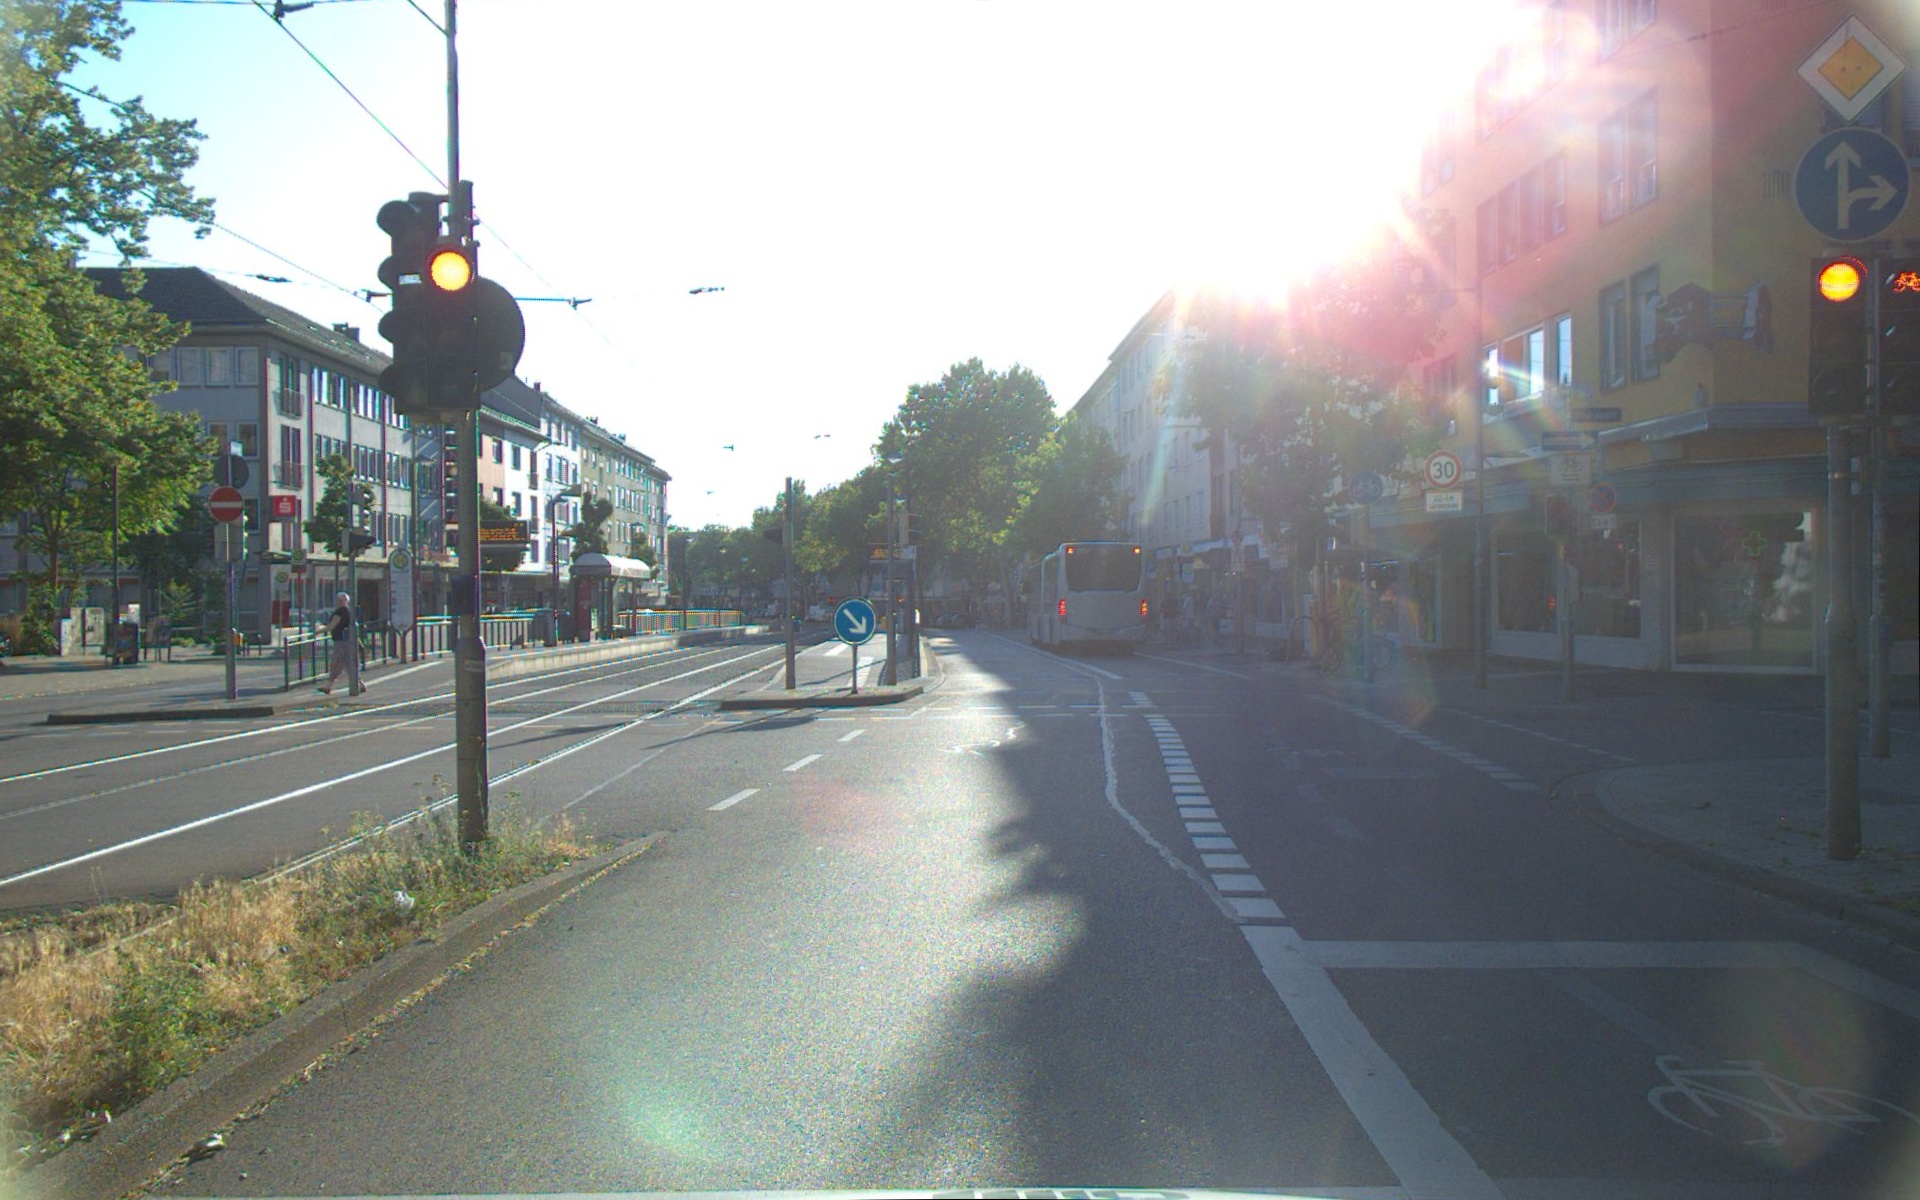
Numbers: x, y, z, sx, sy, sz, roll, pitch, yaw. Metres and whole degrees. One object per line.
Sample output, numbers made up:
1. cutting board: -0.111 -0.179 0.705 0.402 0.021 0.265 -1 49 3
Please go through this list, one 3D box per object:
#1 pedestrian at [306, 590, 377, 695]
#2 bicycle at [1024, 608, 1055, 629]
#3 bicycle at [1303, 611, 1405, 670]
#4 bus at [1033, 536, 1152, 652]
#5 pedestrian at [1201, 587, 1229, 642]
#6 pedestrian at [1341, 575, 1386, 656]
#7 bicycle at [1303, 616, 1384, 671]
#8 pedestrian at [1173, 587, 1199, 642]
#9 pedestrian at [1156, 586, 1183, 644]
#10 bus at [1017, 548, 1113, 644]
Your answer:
1. pedestrian: -10.721 0.729 28.696 0.900 1.791 0.832 -1 -1 0
2. bicycle: 4.851 1.121 101.000 1.848 1.096 0.754 -5 0 1
3. bicycle: 7.451 0.760 31.320 1.763 1.026 0.540 -3 0 -5
4. bus: 3.859 -0.152 50.230 2.642 3.173 9.378 0 0 -1
5. pedestrian: 8.144 0.458 52.832 0.709 1.753 0.766 -1 -1 -2
6. pedestrian: 9.251 0.356 37.953 0.728 1.811 0.894 -2 -1 -2
7. bicycle: 7.420 0.844 31.995 1.453 1.026 0.454 -1 0 -5
8. pedestrian: 7.529 0.495 55.033 0.709 1.810 0.766 -1 -1 -2
9. pedestrian: 6.681 0.473 52.835 0.709 1.838 0.766 -1 -1 -2
10. bus: 3.646 -0.130 59.414 2.642 3.173 9.067 0 0 -1
